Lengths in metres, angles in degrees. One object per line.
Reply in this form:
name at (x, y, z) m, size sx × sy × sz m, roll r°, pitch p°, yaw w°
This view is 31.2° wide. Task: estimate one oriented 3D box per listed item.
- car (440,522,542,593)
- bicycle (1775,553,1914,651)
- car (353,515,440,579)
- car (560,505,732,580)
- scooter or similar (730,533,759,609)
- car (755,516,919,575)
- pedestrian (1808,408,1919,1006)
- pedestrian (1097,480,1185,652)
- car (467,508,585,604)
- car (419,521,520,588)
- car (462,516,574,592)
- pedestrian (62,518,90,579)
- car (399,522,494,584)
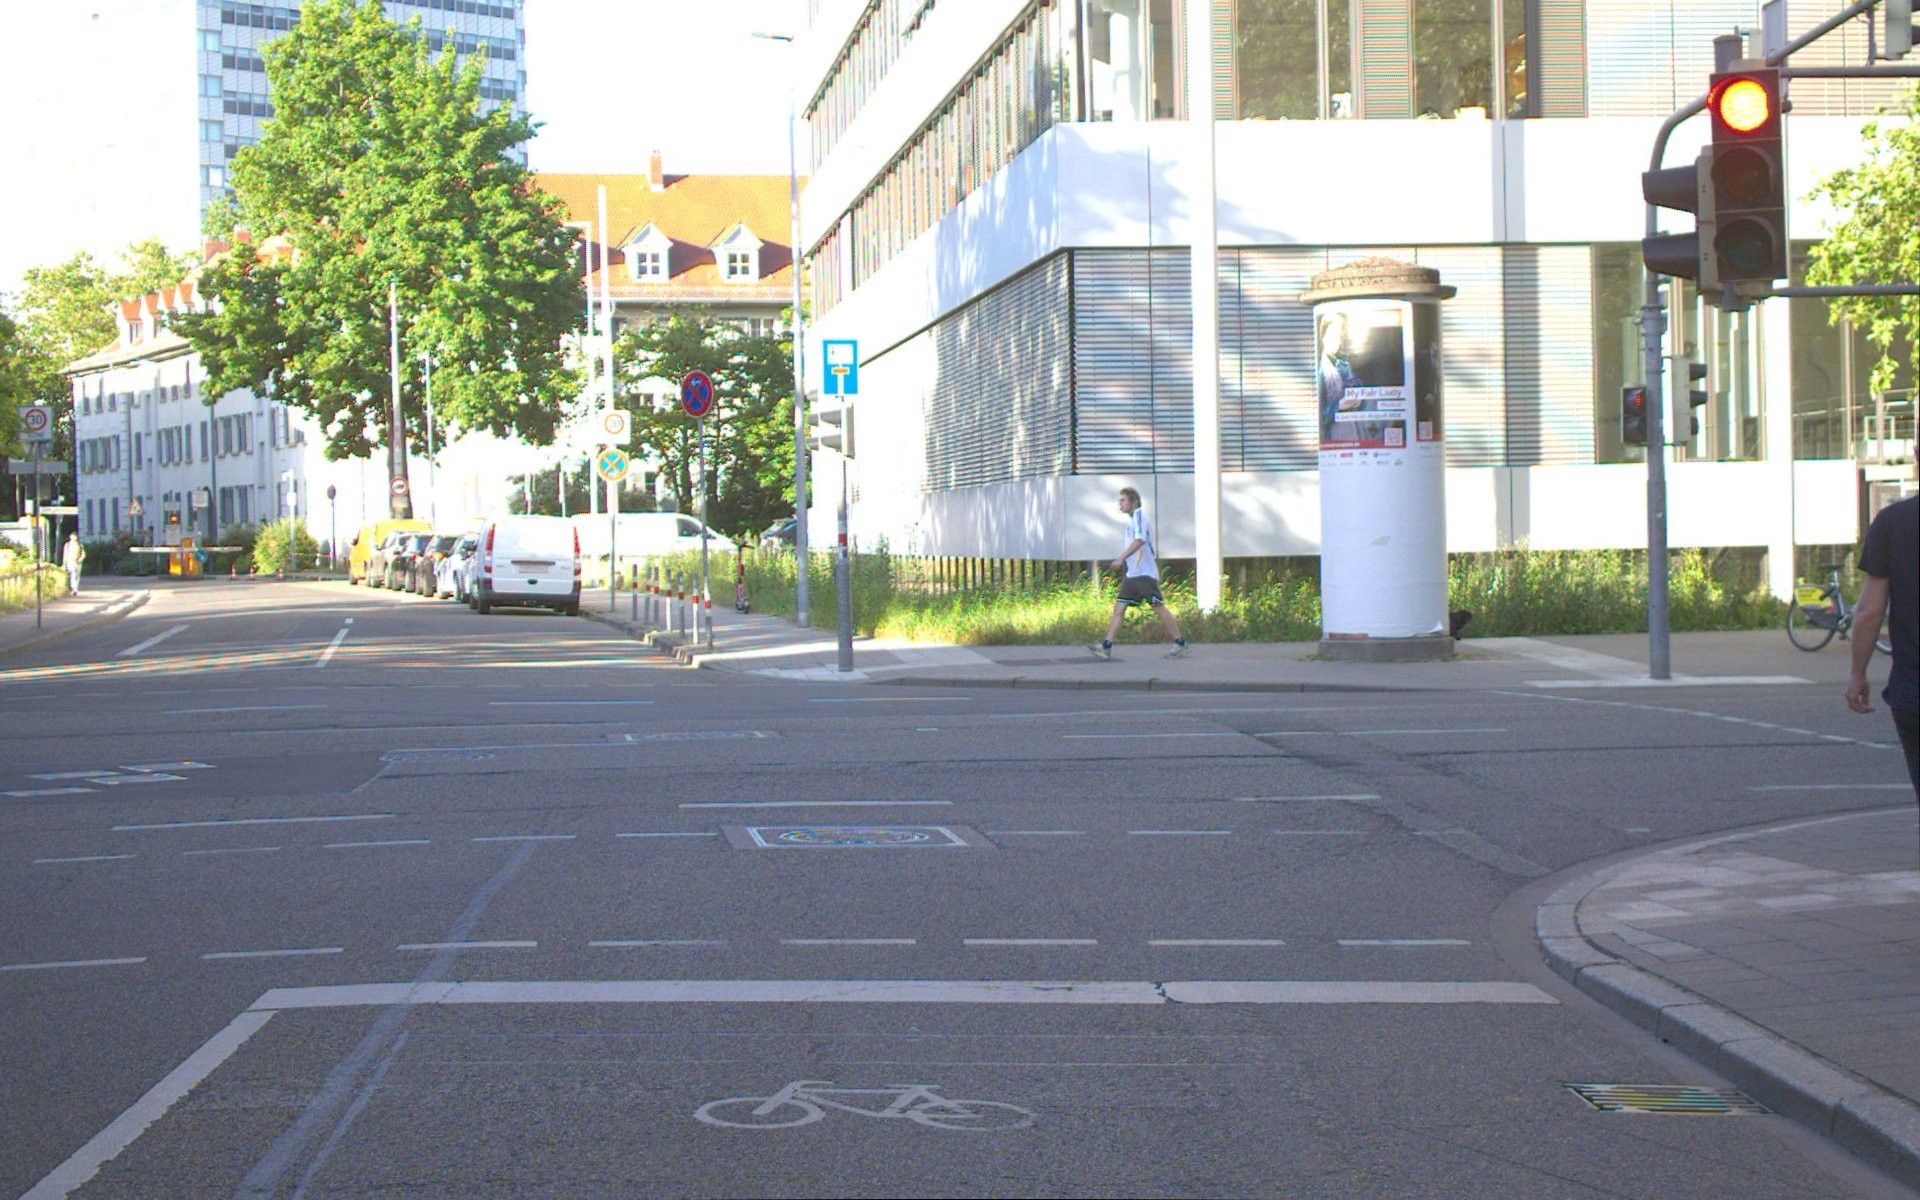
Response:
car at (-10.499, -0.946, 76.790) m, size 1.993 × 1.493 × 4.653 m, roll 1°, pitch 1°, yaw -11°
bicycle at (9.288, 0.012, 36.130) m, size 0.378 × 1.005 × 1.432 m, roll -2°, pitch 2°, yaw -42°
car at (-15.732, -1.466, 95.817) m, size 1.993 × 1.719 × 4.653 m, roll 1°, pitch 1°, yaw -14°
car at (-9.396, -1.721, 102.913) m, size 4.791 × 2.151 × 2.001 m, roll 1°, pitch 0°, yaw -17°
scooter or similar at (-3.654, -0.499, 58.273) m, size 0.437 × 1.252 × 1.420 m, roll -1°, pitch 1°, yaw -4°
car at (-3.749, -1.652, 104.756) m, size 4.635 × 1.719 × 2.001 m, roll 1°, pitch 1°, yaw -16°
pedestrian at (3.108, 0.324, 10.743) m, size 0.699 × 1.804 × 0.720 m, roll 1°, pitch 0°, yaw -1°
pedestrian at (1.986, -0.372, 37.825) m, size 0.914 × 1.862 × 0.742 m, roll 1°, pitch 0°, yaw 1°
car at (-8.215, -0.825, 64.805) m, size 1.993 × 1.719 × 4.653 m, roll 1°, pitch 1°, yaw -10°
car at (-11.621, -1.072, 81.237) m, size 1.993 × 1.493 × 4.288 m, roll 1°, pitch 1°, yaw -13°
car at (-9.166, -0.944, 71.018) m, size 1.993 × 1.493 × 4.653 m, roll 1°, pitch 1°, yaw -11°
pedestrian at (-23.226, -1.344, 90.323) m, size 0.699 × 1.581 × 0.637 m, roll 1°, pitch 0°, yaw -16°
car at (-12.874, -1.177, 85.961) m, size 1.993 × 1.493 × 4.653 m, roll 1°, pitch 1°, yaw -13°
